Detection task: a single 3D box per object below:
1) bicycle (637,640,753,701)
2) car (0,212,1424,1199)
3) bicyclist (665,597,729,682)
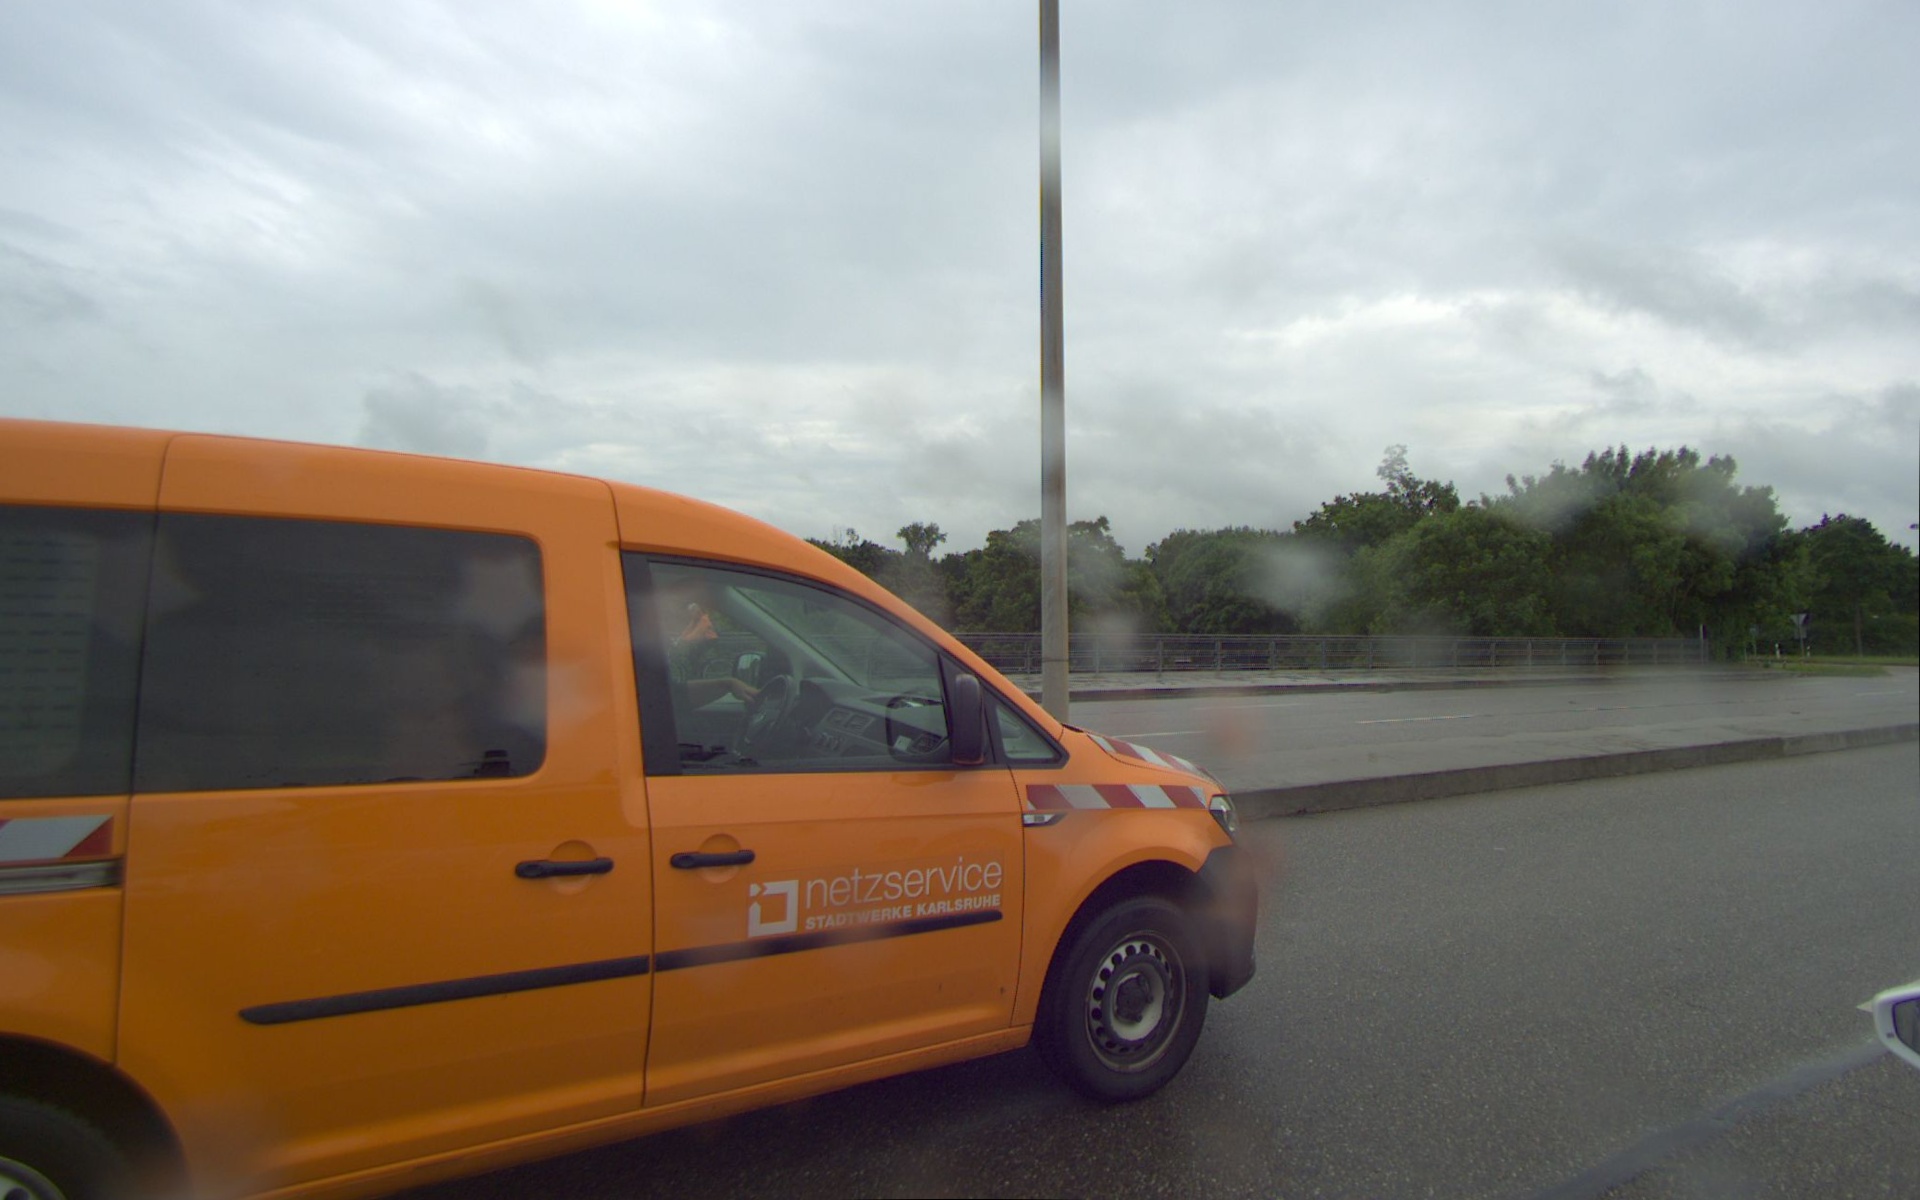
[{"bbox_3d":[-4.898,1.287,18.620,1.977,1.047,0.606,2,0,-31],"label":"bicycle"},{"bbox_3d":[-0.896,0.437,3.053,4.793,2.045,1.726,3,-1,-30],"label":"car"},{"bbox_3d":[-4.875,0.722,18.613,0.991,1.520,0.616,2,1,-30],"label":"bicyclist"}]
